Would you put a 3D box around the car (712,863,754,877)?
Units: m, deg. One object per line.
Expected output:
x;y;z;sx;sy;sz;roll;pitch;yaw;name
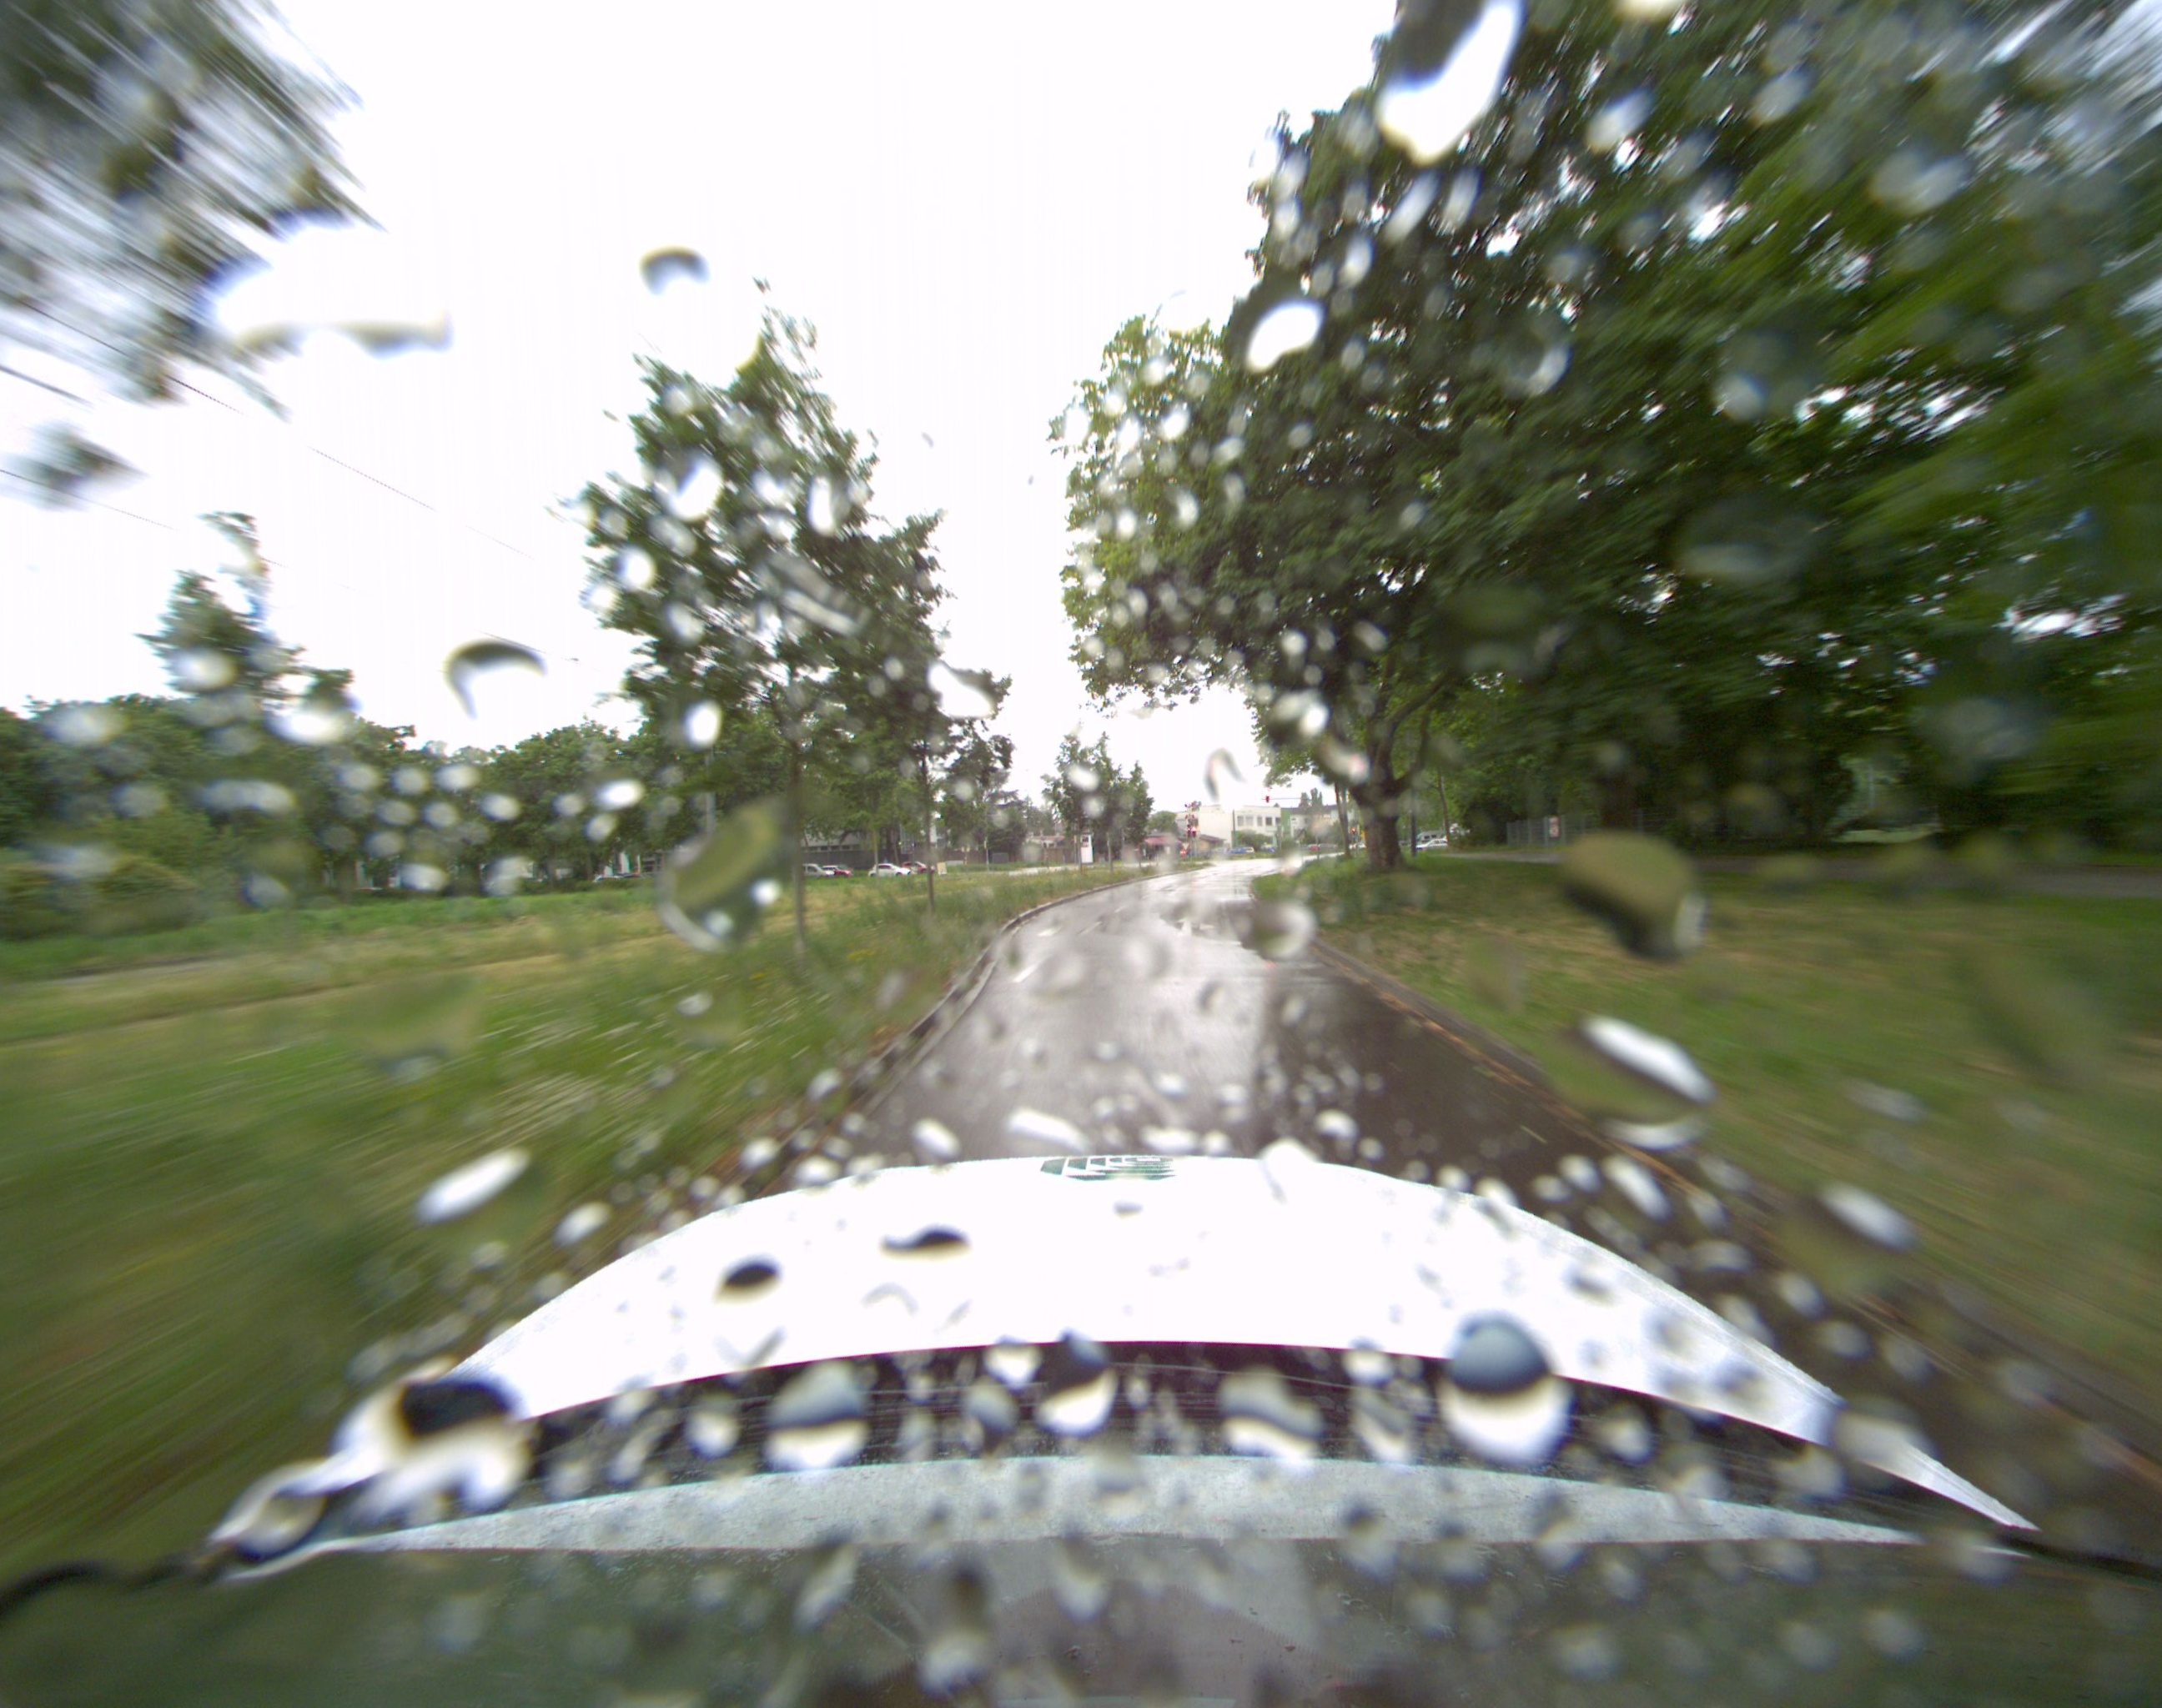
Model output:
-39.753;1.797;93.083;3.971;1.420;1.539;-3;0;2;car

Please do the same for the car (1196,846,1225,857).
18.831;-0.399;118.447;3.718;1.442;1.771;-3;0;20;car

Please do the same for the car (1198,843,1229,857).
19.815;-0.565;121.792;4.097;1.860;1.683;-3;-1;24;car

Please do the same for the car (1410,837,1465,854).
33.859;-0.778;77.453;4.479;1.390;1.651;-2;0;14;car

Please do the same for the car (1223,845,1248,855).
23.810;-0.620;125.744;3.726;1.442;1.768;-3;0;11;car

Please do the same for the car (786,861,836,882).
-26.252;1.693;79.194;4.189;1.796;1.655;-2;1;5;car

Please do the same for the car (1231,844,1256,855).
25.625;-0.706;128.635;3.726;1.442;1.768;-3;0;11;car

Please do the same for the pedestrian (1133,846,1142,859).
7.698;-0.173;111.362;0.805;1.763;0.901;-3;-1;-27;pedestrian

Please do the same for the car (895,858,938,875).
-16.554;1.277;81.932;3.799;1.499;1.655;-3;-1;5;car

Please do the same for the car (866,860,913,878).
-18.365;1.438;78.261;4.045;1.499;1.655;-3;-1;5;car

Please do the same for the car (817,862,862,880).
-24.345;1.710;82.241;3.892;1.498;1.653;-3;1;2;car

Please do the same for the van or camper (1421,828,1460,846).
55.604;-2.653;125.873;5.170;2.697;2.258;0;1;36;van or camper
